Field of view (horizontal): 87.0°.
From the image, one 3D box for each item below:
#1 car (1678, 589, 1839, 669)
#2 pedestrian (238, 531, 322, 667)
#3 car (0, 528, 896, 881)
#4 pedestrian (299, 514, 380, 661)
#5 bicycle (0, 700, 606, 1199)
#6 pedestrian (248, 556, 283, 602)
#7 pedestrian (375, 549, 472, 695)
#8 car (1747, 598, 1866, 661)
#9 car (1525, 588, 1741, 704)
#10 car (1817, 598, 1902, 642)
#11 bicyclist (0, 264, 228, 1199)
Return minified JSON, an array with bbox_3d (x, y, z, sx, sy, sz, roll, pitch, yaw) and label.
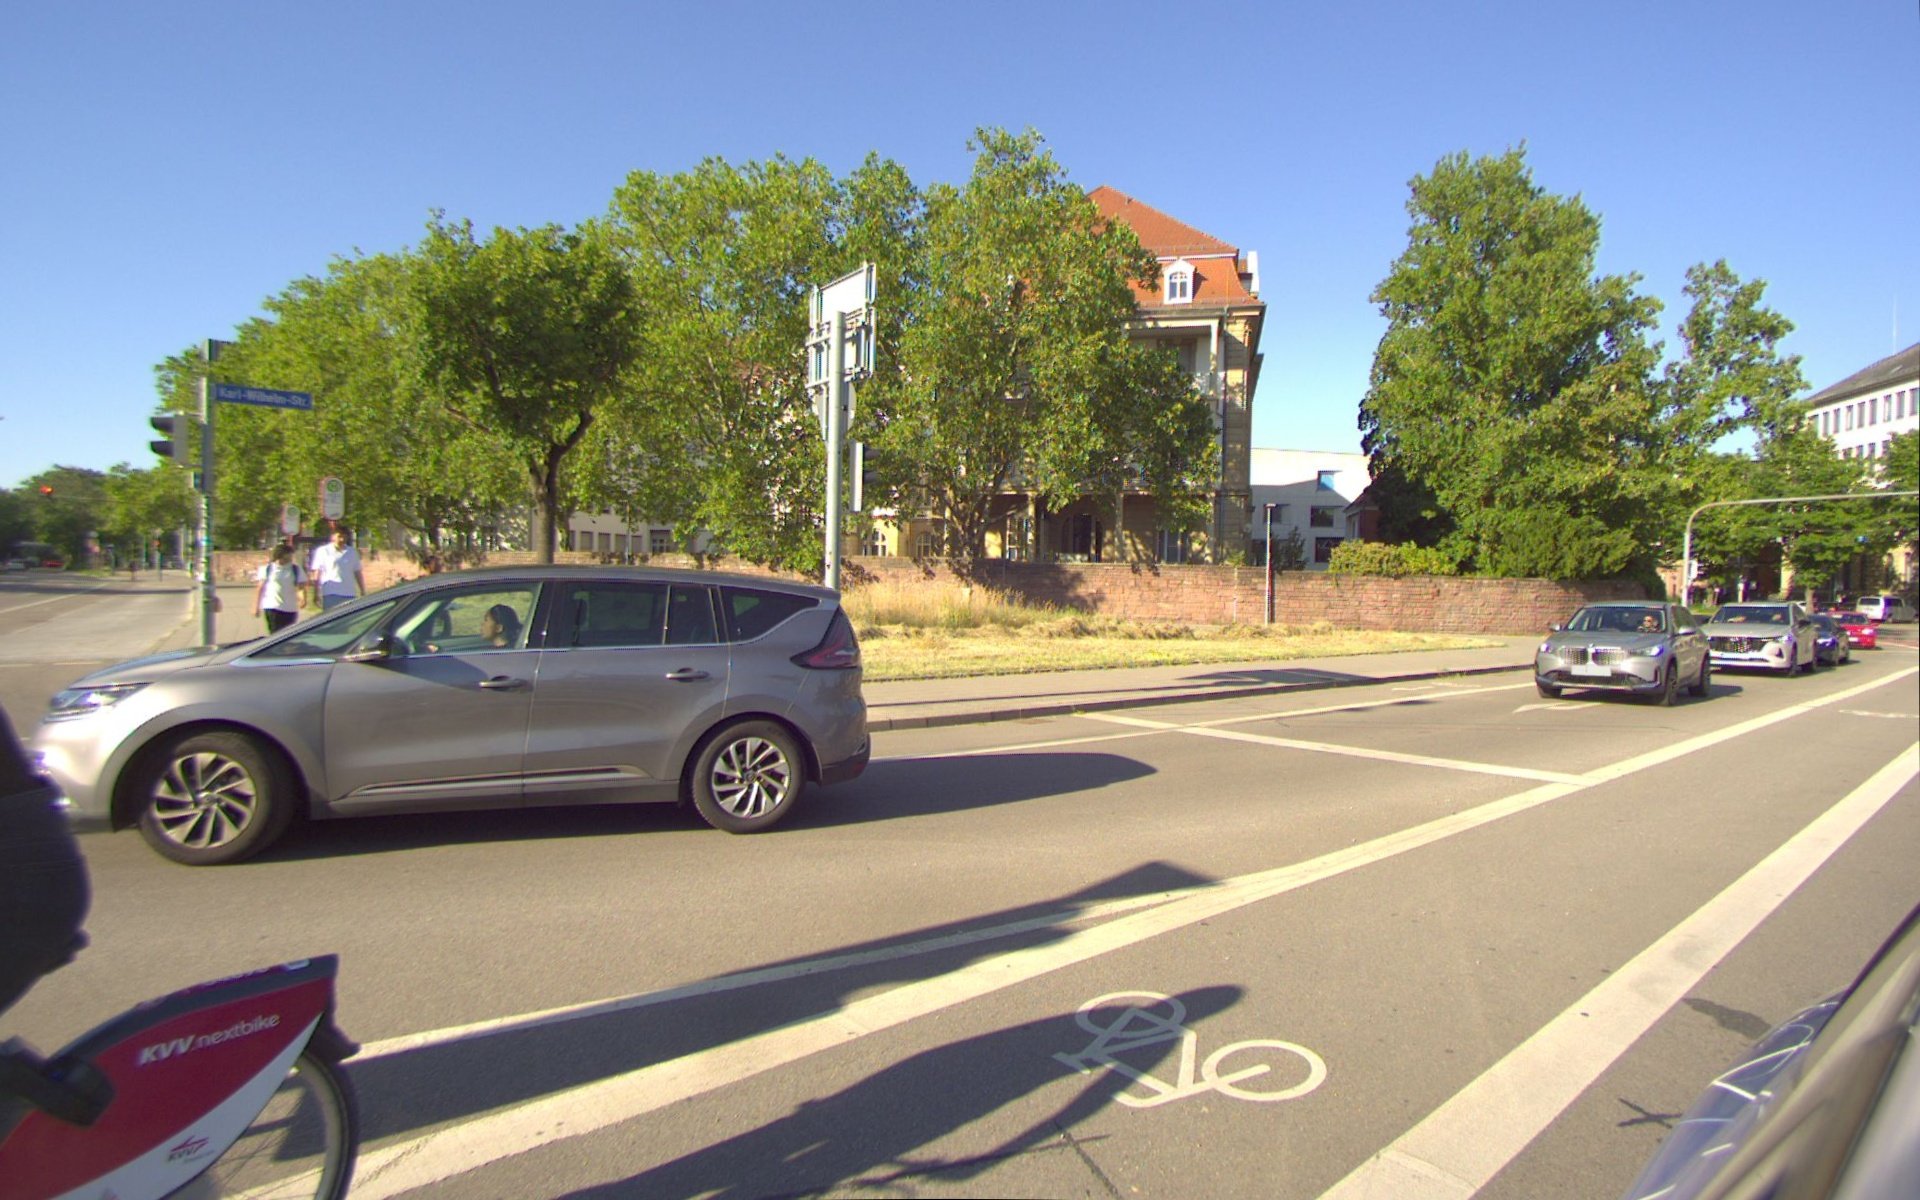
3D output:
[{"bbox_3d":[18.884,0.606,23.875,4.526,1.705,2.192,-1,0,-41],"label":"car"},{"bbox_3d":[-8.978,-0.040,13.369,0.869,1.693,0.703,6,5,39],"label":"pedestrian"},{"bbox_3d":[-2.901,0.490,6.634,4.532,1.705,2.005,1,2,-21],"label":"car"},{"bbox_3d":[-8.537,-0.199,13.926,0.869,1.916,0.703,6,5,39],"label":"pedestrian"},{"bbox_3d":[-1.693,0.833,1.630,0.716,1.135,2.037,2,1,38],"label":"bicycle"},{"bbox_3d":[-24.064,-0.741,35.074,0.956,1.555,0.922,0,2,-37],"label":"pedestrian"},{"bbox_3d":[-6.488,0.242,12.271,0.779,1.672,0.712,3,4,4],"label":"pedestrian"},{"bbox_3d":[24.192,0.766,28.867,4.531,1.606,2.189,-1,0,-45],"label":"car"},{"bbox_3d":[11.457,0.648,17.116,4.291,1.640,2.151,0,2,-44],"label":"car"},{"bbox_3d":[35.100,0.733,39.464,4.531,1.606,2.189,-1,0,-45],"label":"car"},{"bbox_3d":[-1.753,0.417,1.540,0.714,1.810,0.837,2,0,39],"label":"bicyclist"}]
